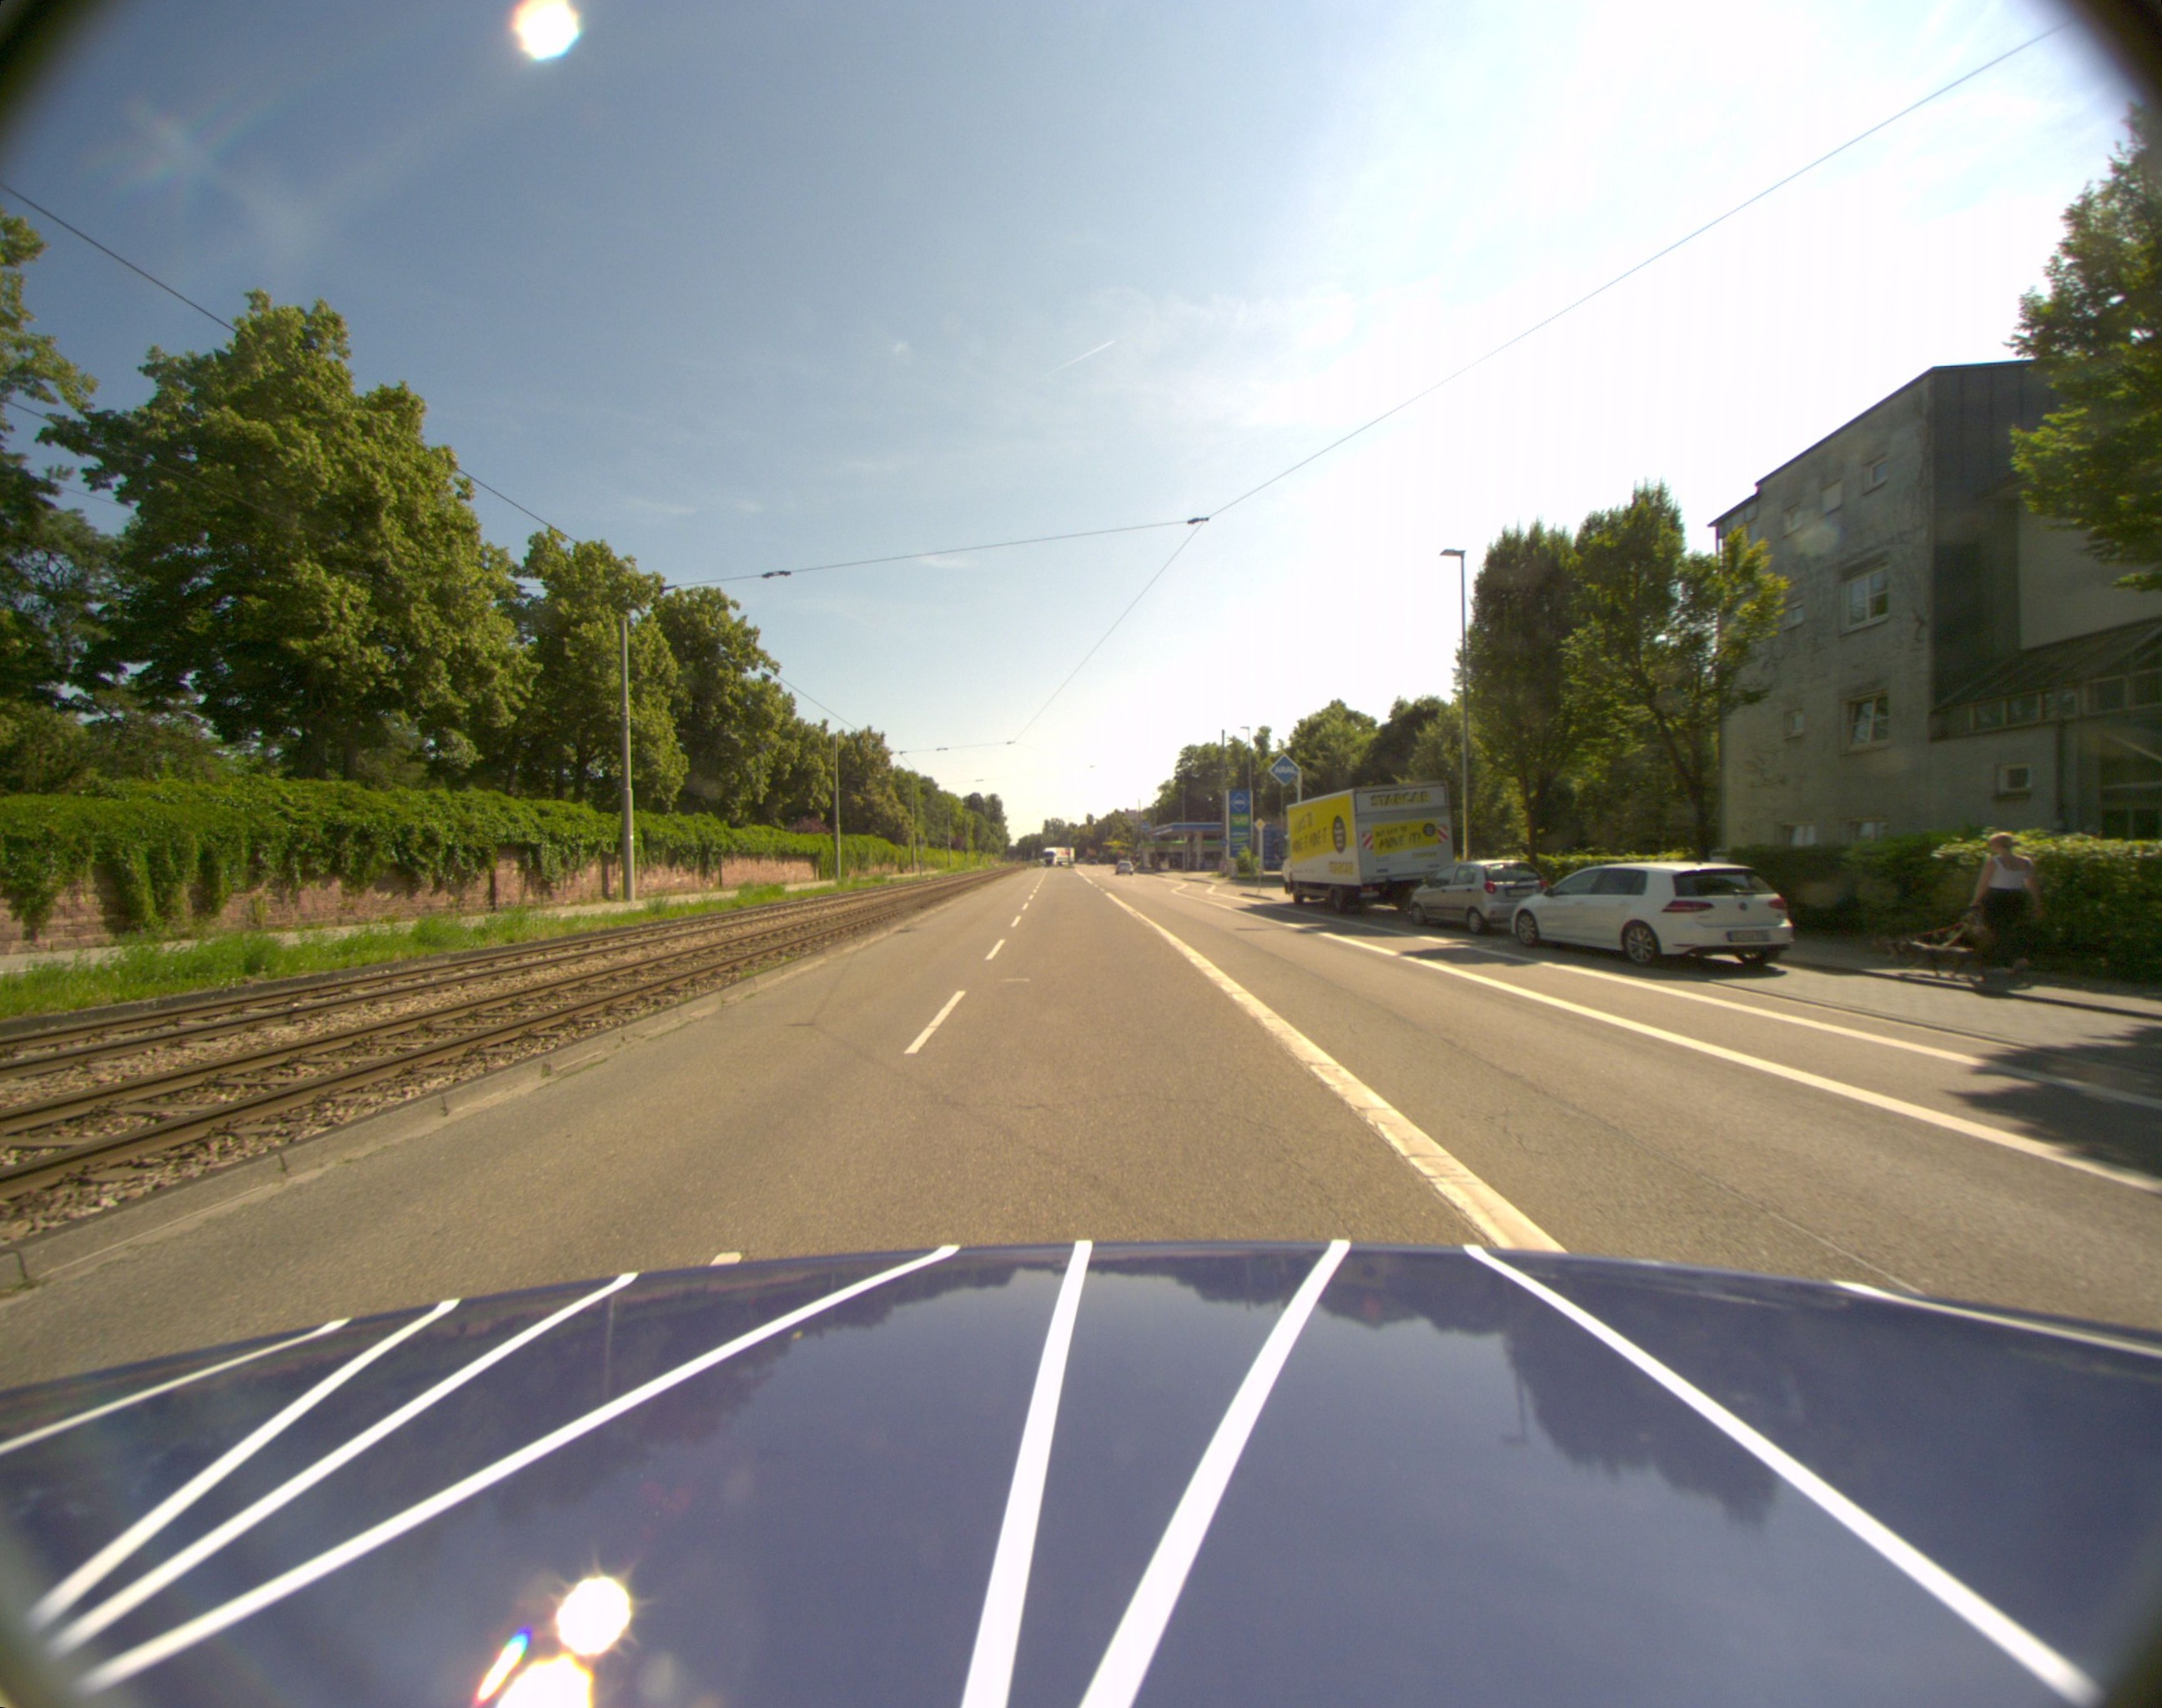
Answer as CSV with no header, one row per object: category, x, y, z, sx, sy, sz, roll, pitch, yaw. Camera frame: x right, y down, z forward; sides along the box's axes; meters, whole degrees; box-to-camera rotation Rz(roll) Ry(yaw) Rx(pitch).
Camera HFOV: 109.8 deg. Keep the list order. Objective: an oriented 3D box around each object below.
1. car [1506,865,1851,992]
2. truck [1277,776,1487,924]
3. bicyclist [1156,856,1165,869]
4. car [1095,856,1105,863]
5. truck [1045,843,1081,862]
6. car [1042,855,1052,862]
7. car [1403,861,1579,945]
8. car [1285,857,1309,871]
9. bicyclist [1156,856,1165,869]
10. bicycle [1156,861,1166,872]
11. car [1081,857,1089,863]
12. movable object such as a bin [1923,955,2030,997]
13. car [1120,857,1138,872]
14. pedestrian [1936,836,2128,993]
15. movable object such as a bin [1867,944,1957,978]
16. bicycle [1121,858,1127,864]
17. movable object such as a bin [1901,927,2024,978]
car,8.537,0.945,11.461,1.762,1.420,4.281,-2,0,-1
truck,8.467,-0.086,22.842,2.674,3.509,8.589,-2,0,-1
bicyclist,8.868,0.966,84.651,0.849,1.427,0.832,-1,0,1
car,4.606,1.405,186.752,1.827,1.661,3.999,-2,-2,-6
truck,-3.676,-0.308,161.927,2.848,3.983,14.324,0,0,19
car,-8.248,1.042,183.496,1.932,1.593,4.465,-2,0,-7
car,8.542,0.942,16.203,1.614,1.475,3.635,-3,0,-3
car,21.551,1.011,75.785,1.801,1.338,4.250,-1,0,22
bicyclist,8.917,0.977,85.469,0.849,1.427,0.833,-2,-1,1
bicycle,8.911,1.400,84.754,0.827,1.088,2.773,-1,0,2
car,1.138,1.815,226.041,1.827,1.661,3.999,-2,-2,-6
movable object such as a bin,10.185,1.383,8.667,0.327,0.352,0.756,-1,0,-1
car,4.807,1.042,76.945,1.663,1.412,4.310,0,0,2
pedestrian,10.818,0.653,8.695,0.877,1.681,1.055,-1,0,-1
movable object such as a bin,10.677,1.368,9.782,0.327,0.337,0.756,-1,0,-1
bicycle,8.464,1.400,150.285,0.753,1.051,2.074,-1,0,-10
movable object such as a bin,11.347,1.259,9.817,0.327,0.513,1.075,-1,0,-1
